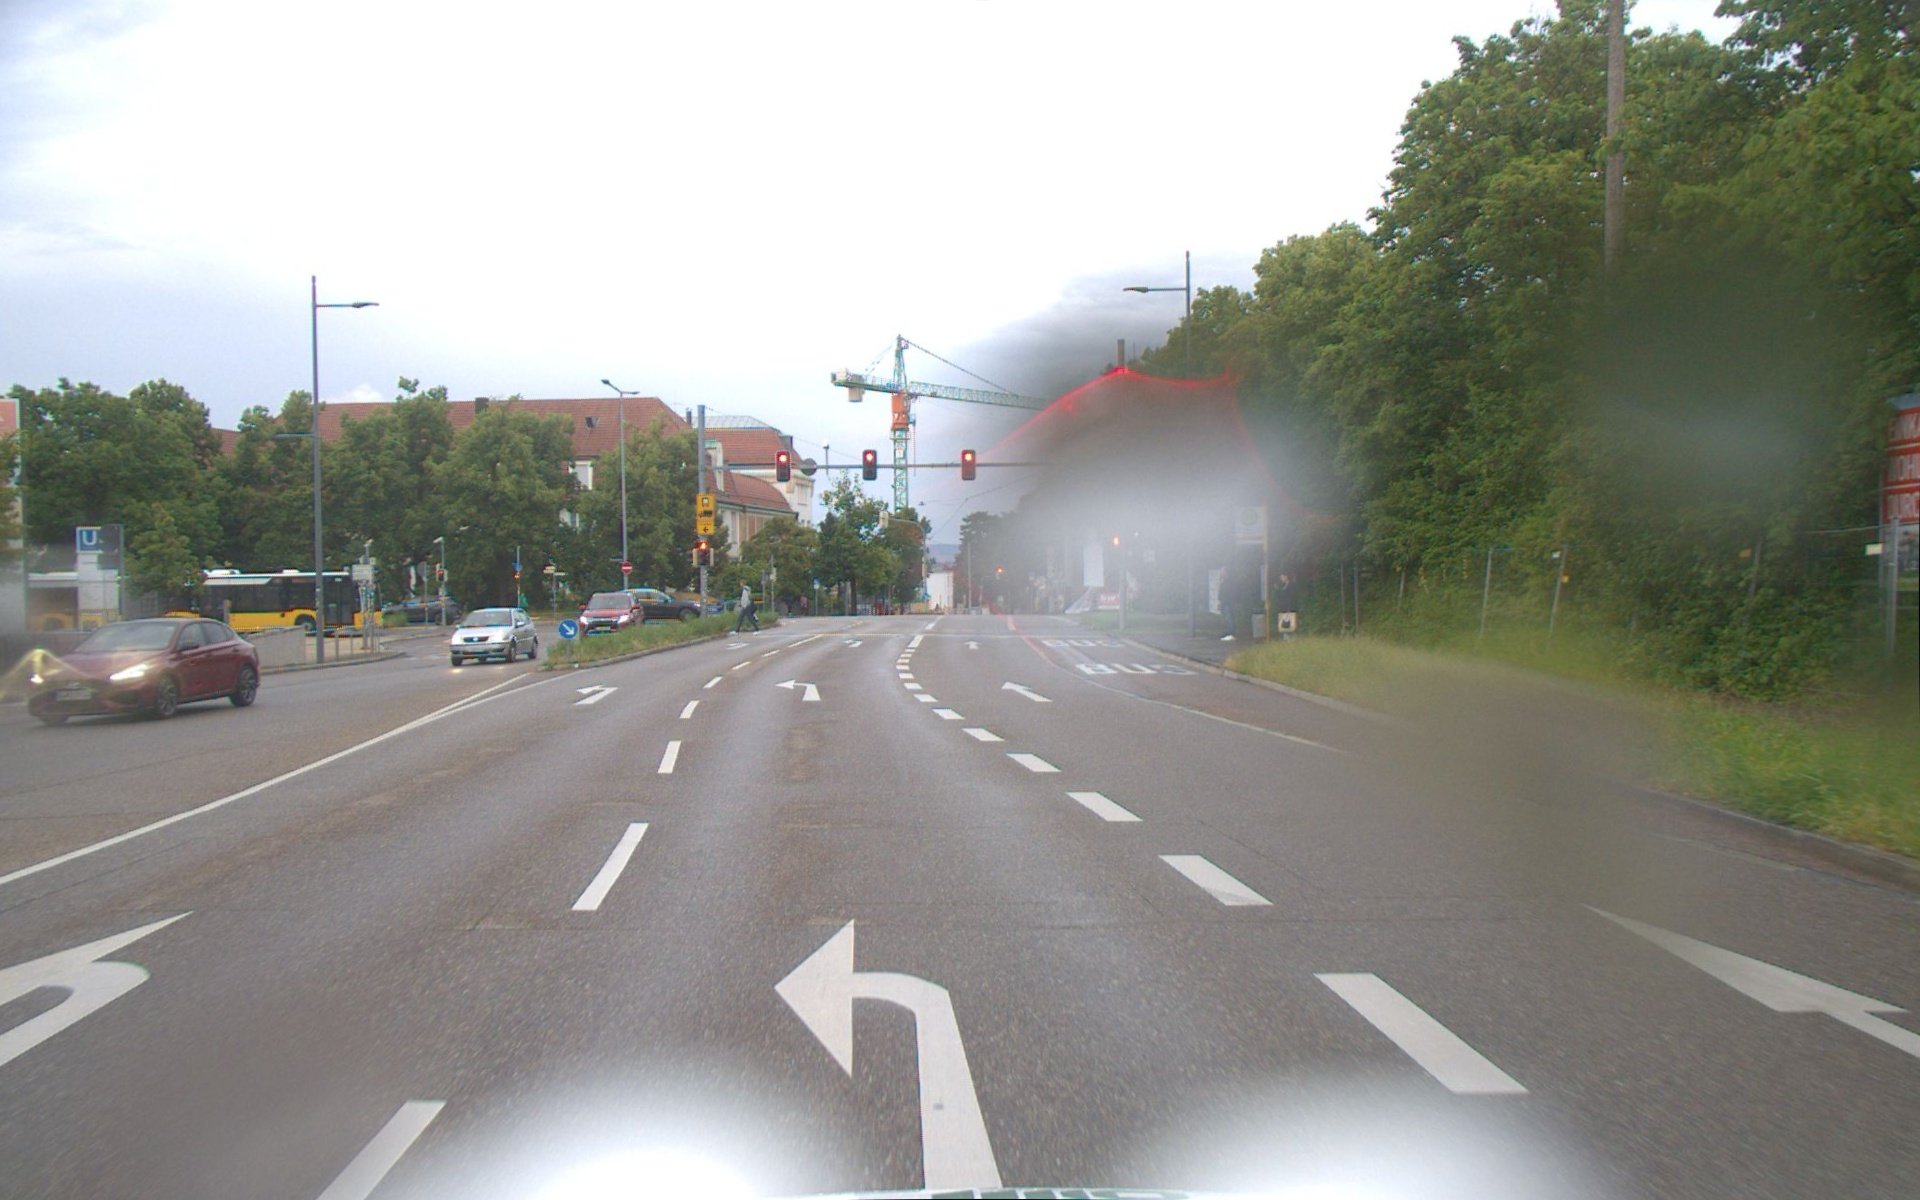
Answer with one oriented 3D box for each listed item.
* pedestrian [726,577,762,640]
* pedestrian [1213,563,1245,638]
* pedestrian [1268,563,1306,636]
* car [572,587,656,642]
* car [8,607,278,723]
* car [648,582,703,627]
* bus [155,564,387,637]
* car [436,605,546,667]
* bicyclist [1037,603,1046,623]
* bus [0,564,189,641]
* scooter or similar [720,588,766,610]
[{"bbox_3d":[-7.305,0.287,56.008,0.920,2.048,0.847,-3,0,5],"label":"pedestrian"},{"bbox_3d":[7.087,0.004,43.553,0.628,1.934,0.717,-1,0,-6],"label":"pedestrian"},{"bbox_3d":[7.699,-0.009,38.998,0.662,1.687,0.792,-1,0,-6],"label":"pedestrian"},{"bbox_3d":[-11.806,0.455,56.785,1.815,1.712,4.737,-3,0,0],"label":"car"},{"bbox_3d":[-12.148,0.902,24.955,1.794,1.441,4.465,-3,0,0],"label":"car"},{"bbox_3d":[-14.016,0.259,81.697,1.904,2.056,4.550,1,-2,0],"label":"car"},{"bbox_3d":[-31.827,0.031,76.633,9.523,3.157,2.898,-1,0,2],"label":"bus"},{"bbox_3d":[-12.263,0.907,43.453,1.726,1.441,3.878,-3,0,0],"label":"car"},{"bbox_3d":[6.585,1.030,133.461,0.705,1.591,1.143,1,-1,2],"label":"bicyclist"},{"bbox_3d":[-40.718,0.107,76.904,8.370,3.365,2.898,-1,0,2],"label":"bus"},{"bbox_3d":[-15.171,-0.057,115.678,3.025,1.465,0.948,-1,0,-2],"label":"scooter or similar"}]
